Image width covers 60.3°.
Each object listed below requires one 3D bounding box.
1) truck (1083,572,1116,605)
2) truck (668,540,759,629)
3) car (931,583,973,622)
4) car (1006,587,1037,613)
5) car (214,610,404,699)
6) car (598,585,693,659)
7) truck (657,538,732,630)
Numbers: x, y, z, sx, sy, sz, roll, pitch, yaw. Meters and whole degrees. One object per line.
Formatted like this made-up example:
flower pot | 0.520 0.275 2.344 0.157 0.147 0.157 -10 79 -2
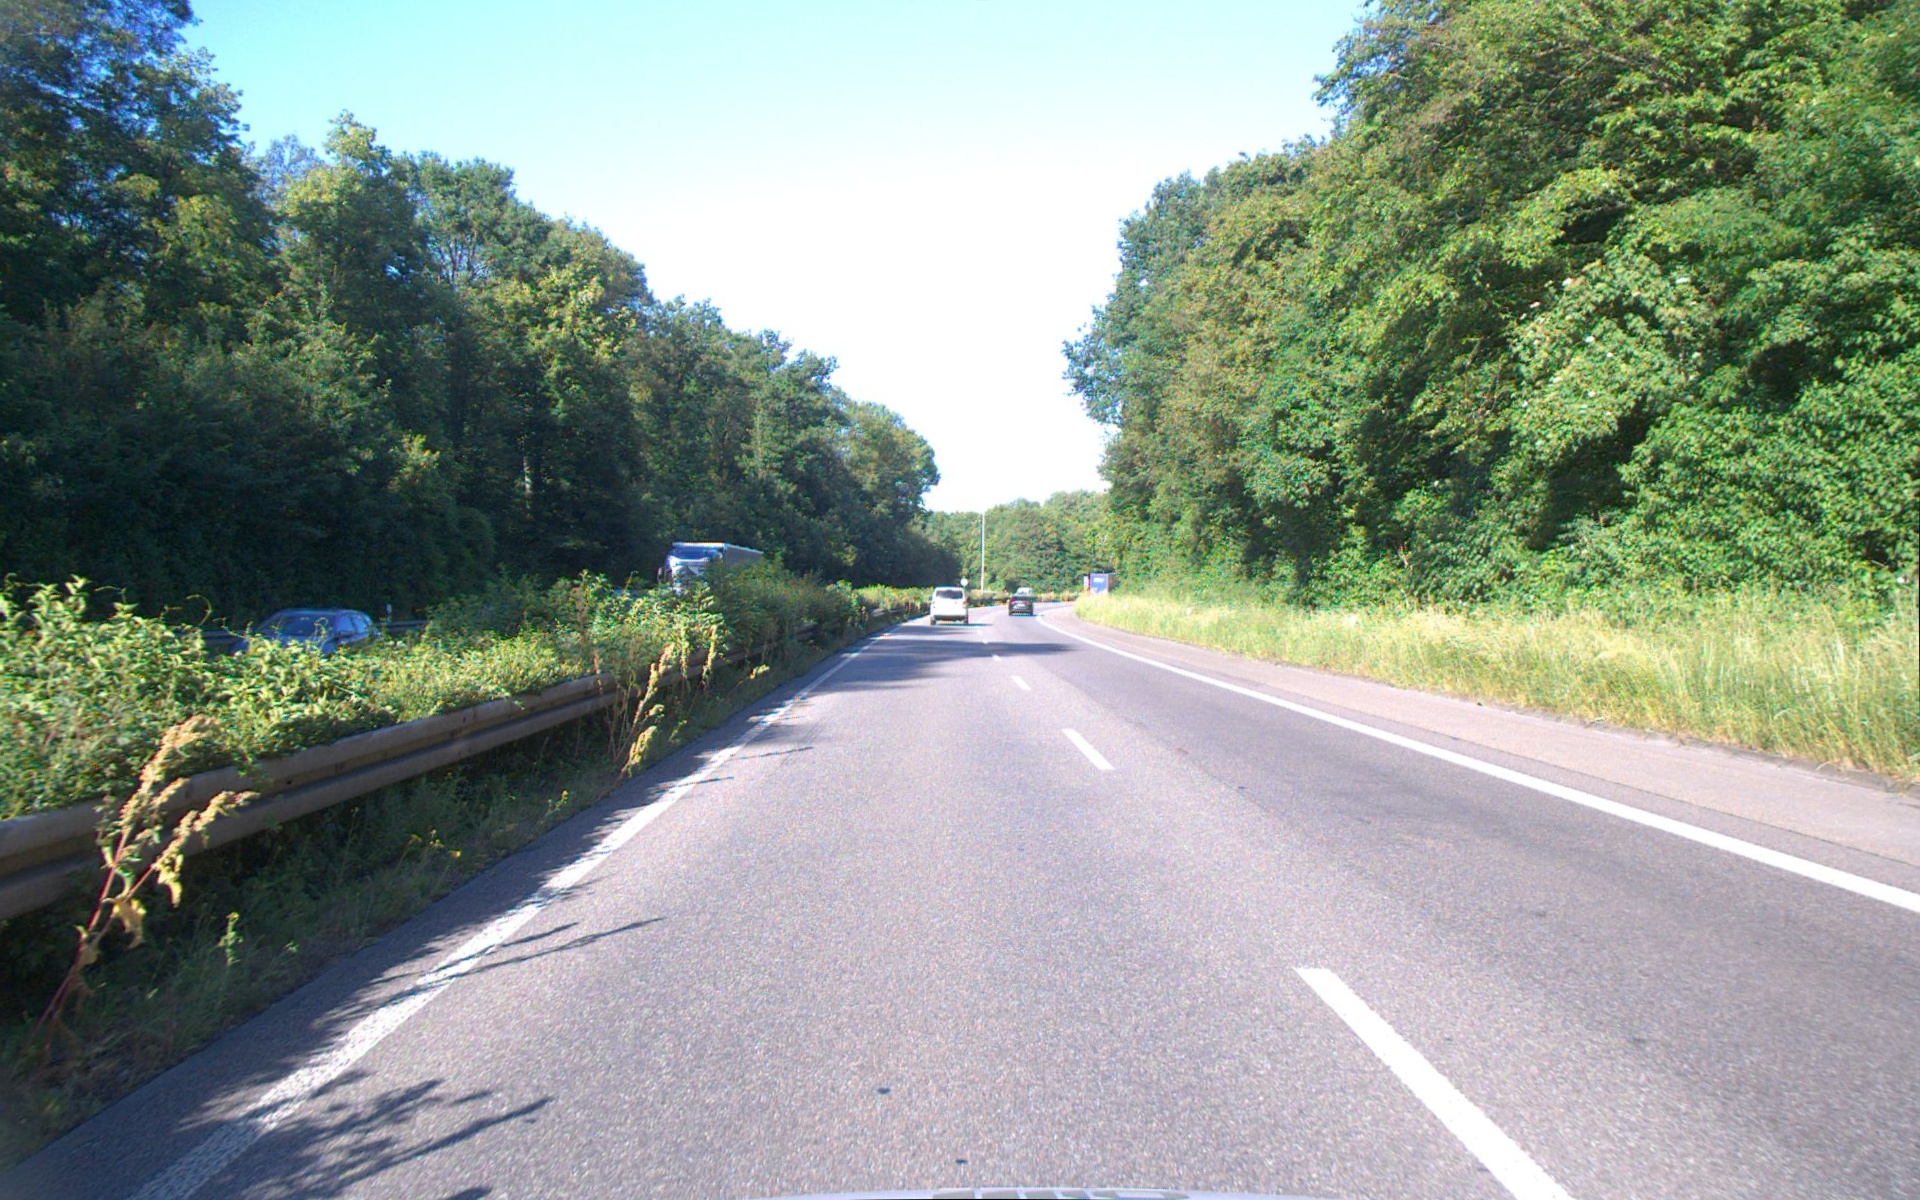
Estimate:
truck | 19.572 -1.588 231.094 3.654 4.419 9.312 1 0 10
truck | -12.534 -0.712 85.467 2.652 4.168 14.020 1 0 0
car | -0.436 0.122 79.917 1.912 1.813 4.586 1 0 -2
car | 4.392 0.012 118.452 1.912 1.813 4.586 1 0 -2
car | -11.780 0.930 30.257 1.763 1.467 4.435 1 0 -1
car | -8.436 0.569 44.653 1.742 1.880 4.000 1 0 0
truck | -12.502 -0.728 78.335 2.660 4.168 5.436 1 0 0
